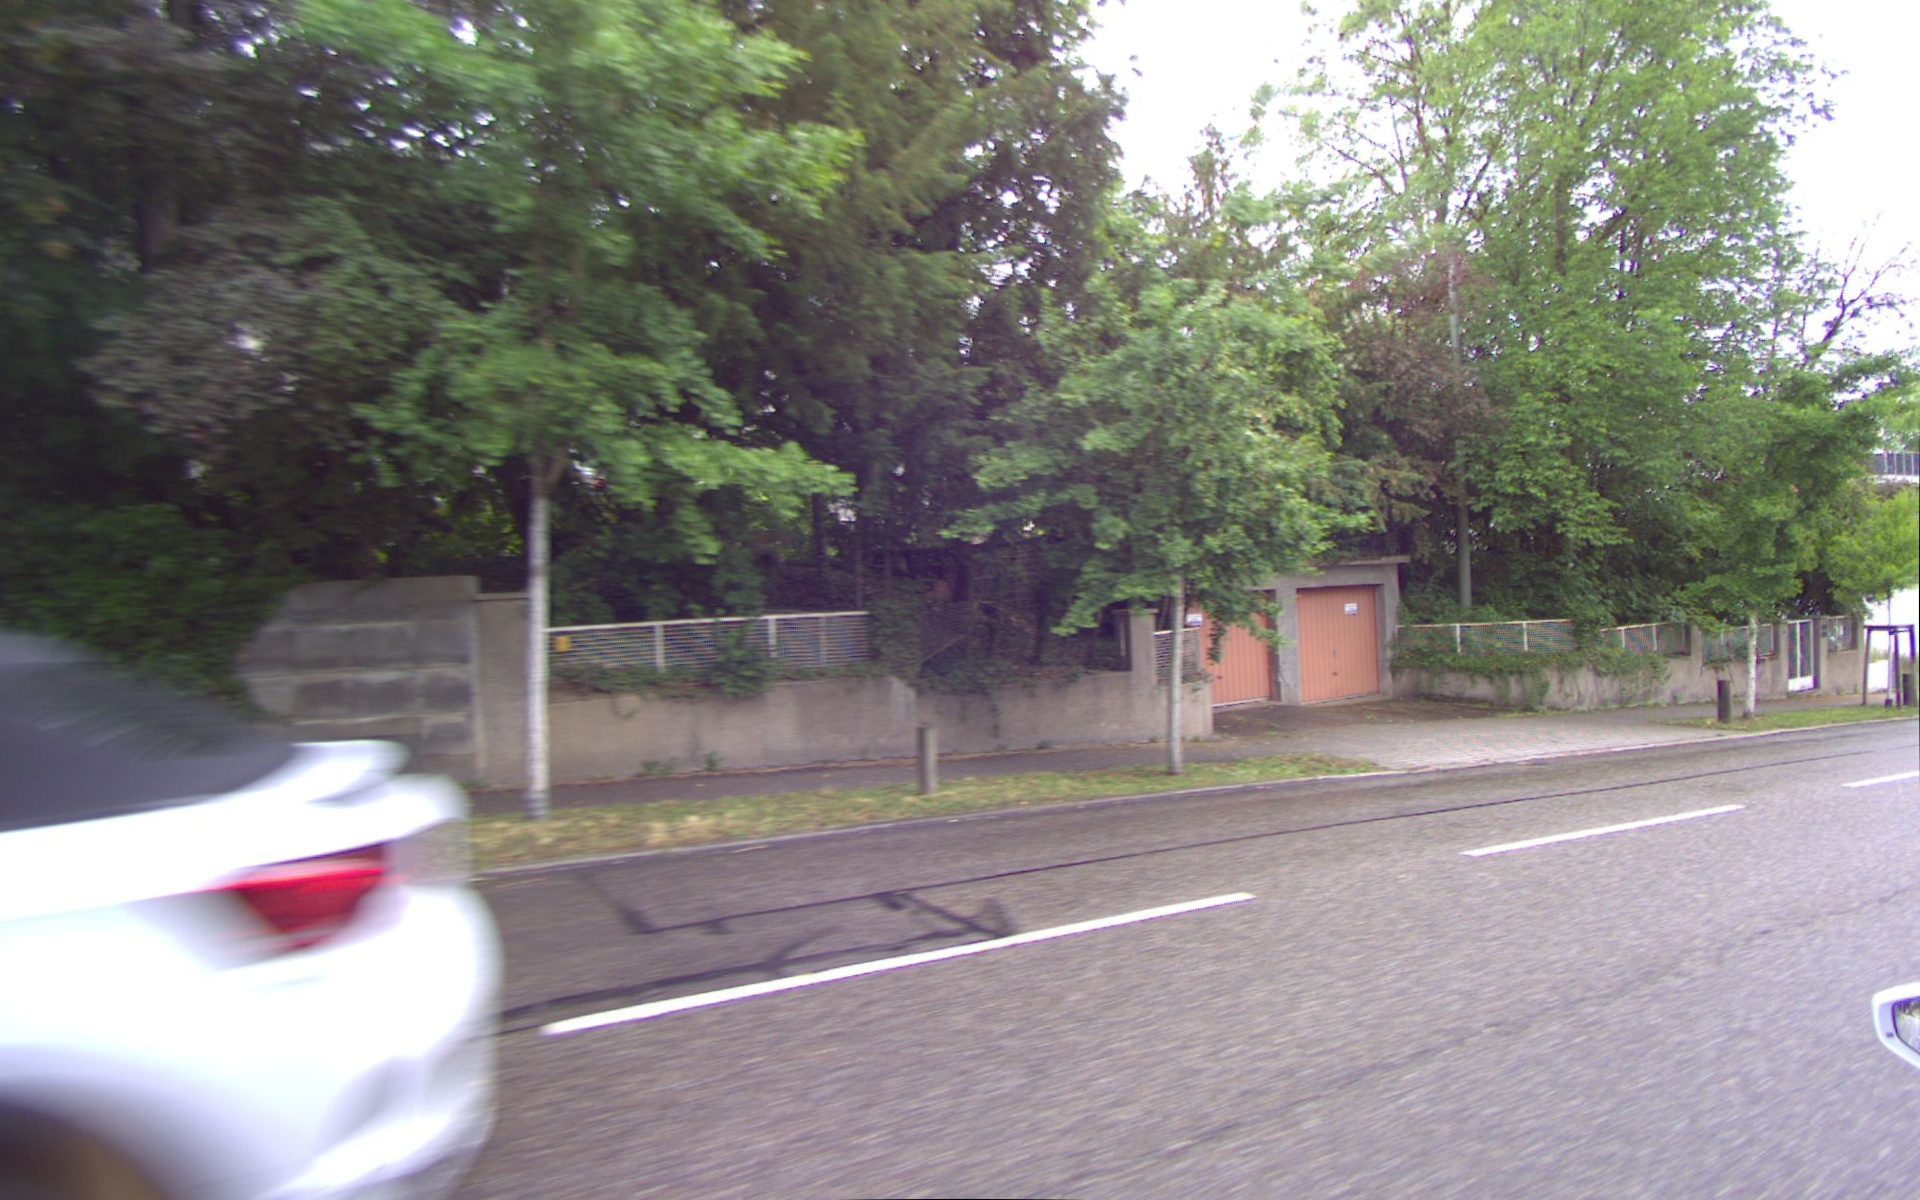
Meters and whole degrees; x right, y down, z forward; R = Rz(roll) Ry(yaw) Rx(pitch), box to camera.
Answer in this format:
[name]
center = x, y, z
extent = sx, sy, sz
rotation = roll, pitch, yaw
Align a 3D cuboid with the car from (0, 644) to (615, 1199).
[car]
center = -2.822, 0.860, 1.600
extent = 4.046, 1.529, 1.785
rotation = 1, -2, -30
